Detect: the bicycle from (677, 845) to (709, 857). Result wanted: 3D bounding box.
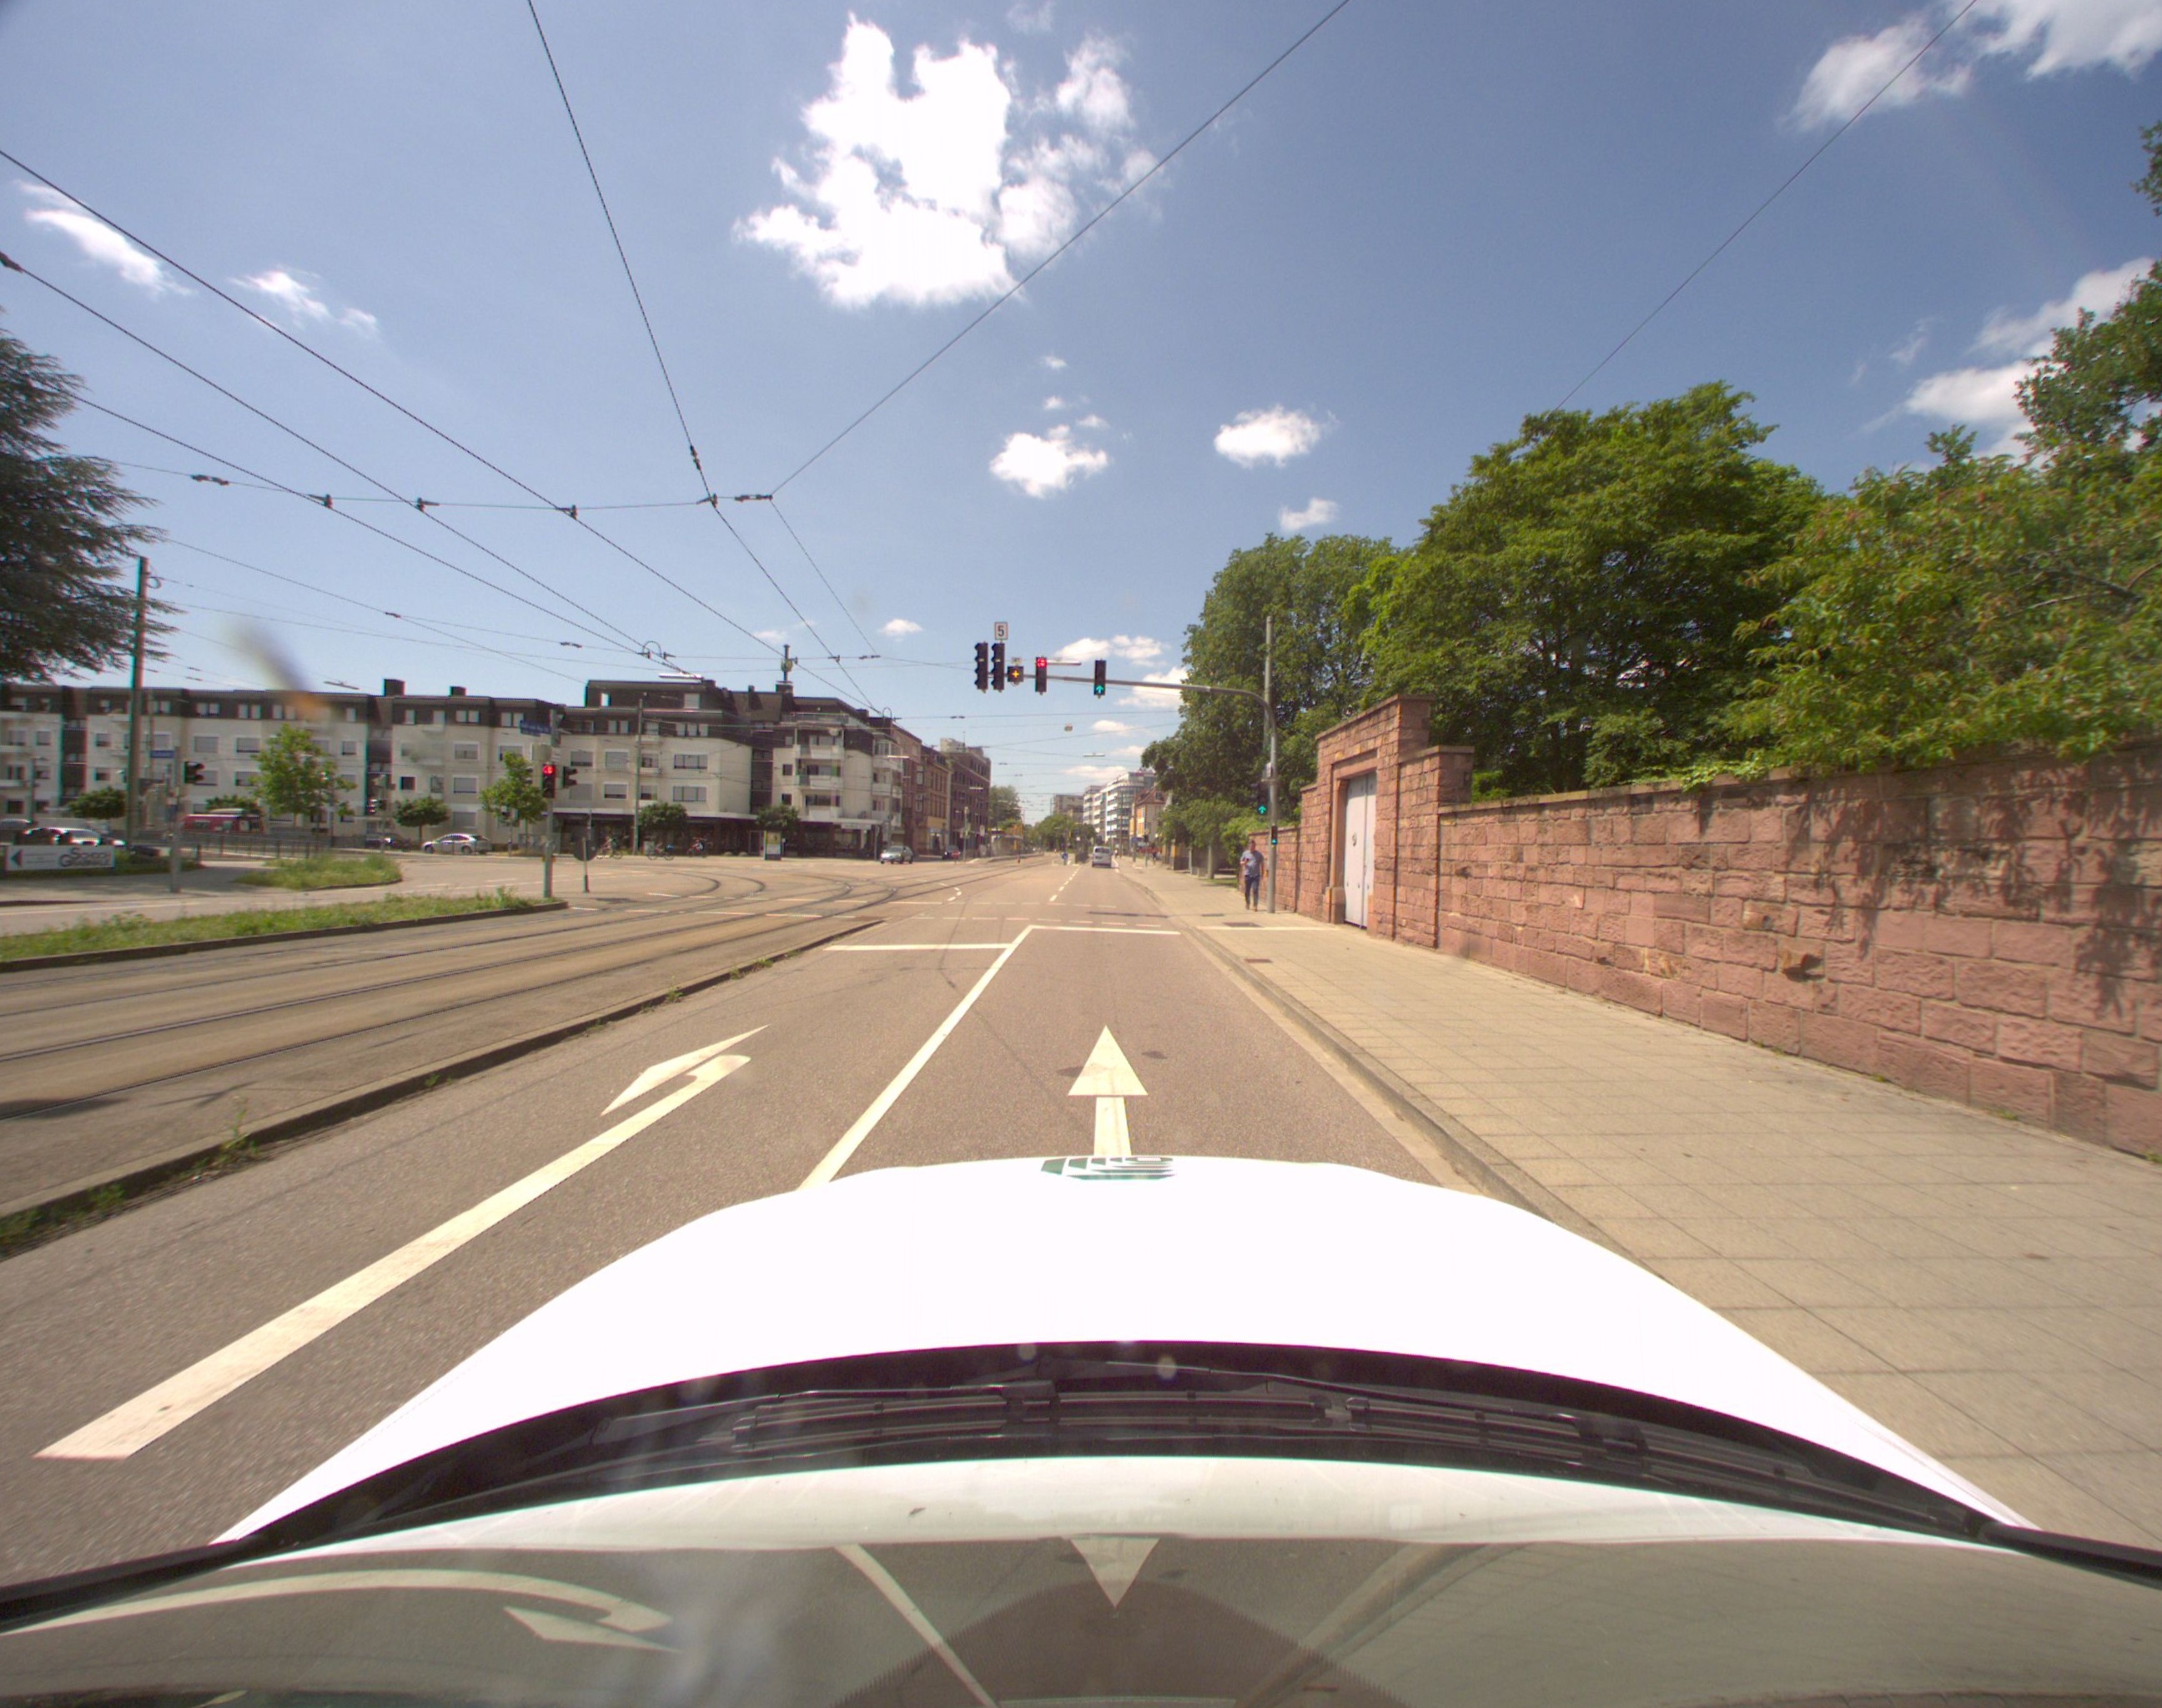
[{"bbox_3d":[-30.523,-0.199,64.072,2.265,0.935,0.665,0,-1,-32],"label":"bicycle"}]

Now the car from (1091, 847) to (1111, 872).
[{"bbox_3d":[1.761,0.456,72.095,1.746,2.013,4.001,1,1,0],"label":"car"}]

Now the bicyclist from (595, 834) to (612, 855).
[{"bbox_3d":[-34.081,-0.662,58.130,0.853,1.487,0.732,0,-1,-19],"label":"bicyclist"}]

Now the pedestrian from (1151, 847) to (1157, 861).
[{"bbox_3d":[7.969,-0.021,89.124,0.574,1.556,0.787,0,-1,4],"label":"pedestrian"}]

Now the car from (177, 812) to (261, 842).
[{"bbox_3d":[-62.048,-1.934,58.672,3.970,2.013,2.002,1,0,3],"label":"car"}]

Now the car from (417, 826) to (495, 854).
[{"bbox_3d":[-44.859,-0.977,58.537,3.974,1.912,2.000,1,0,-1],"label":"car"}]

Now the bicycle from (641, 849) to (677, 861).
[{"bbox_3d":[-30.639,0.052,59.171,2.257,0.881,0.415,0,-1,-20],"label":"bicycle"}]

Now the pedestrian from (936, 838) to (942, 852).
[{"bbox_3d":[-19.600,-1.239,112.197,0.616,2.014,0.810,3,-1,-1],"label":"pedestrian"}]

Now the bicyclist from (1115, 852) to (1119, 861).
[{"bbox_3d":[6.006,0.420,137.186,0.589,1.397,0.841,2,0,-1],"label":"bicyclist"}]

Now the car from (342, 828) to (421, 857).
[{"bbox_3d":[-50.952,-0.824,59.358,3.974,2.014,1.999,0,-1,-1],"label":"car"}]

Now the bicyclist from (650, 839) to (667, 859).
[{"bbox_3d":[-30.744,-0.367,59.256,0.964,1.422,0.627,0,-1,-19],"label":"bicyclist"}]

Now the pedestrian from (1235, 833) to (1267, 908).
[{"bbox_3d":[4.293,0.404,20.650,0.711,1.852,0.769,-1,-1,8],"label":"pedestrian"}]

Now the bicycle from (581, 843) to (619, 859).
[{"bbox_3d":[-34.268,-0.210,58.078,2.257,1.101,0.514,0,-1,-19],"label":"bicycle"}]

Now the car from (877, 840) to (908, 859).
[{"bbox_3d":[-15.275,-0.392,66.272,1.992,1.471,4.390,1,0,-8],"label":"car"}]

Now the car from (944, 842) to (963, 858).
[{"bbox_3d":[-14.324,-0.422,91.684,1.720,1.683,4.275,2,1,-3],"label":"car"}]

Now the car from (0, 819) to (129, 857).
[{"bbox_3d":[-48.585,-0.742,38.976,3.826,1.725,1.901,0,-1,2],"label":"car"}]

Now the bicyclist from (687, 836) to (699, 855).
[{"bbox_3d":[-30.513,-0.653,64.051,0.852,1.468,0.650,0,-1,-32],"label":"bicyclist"}]
